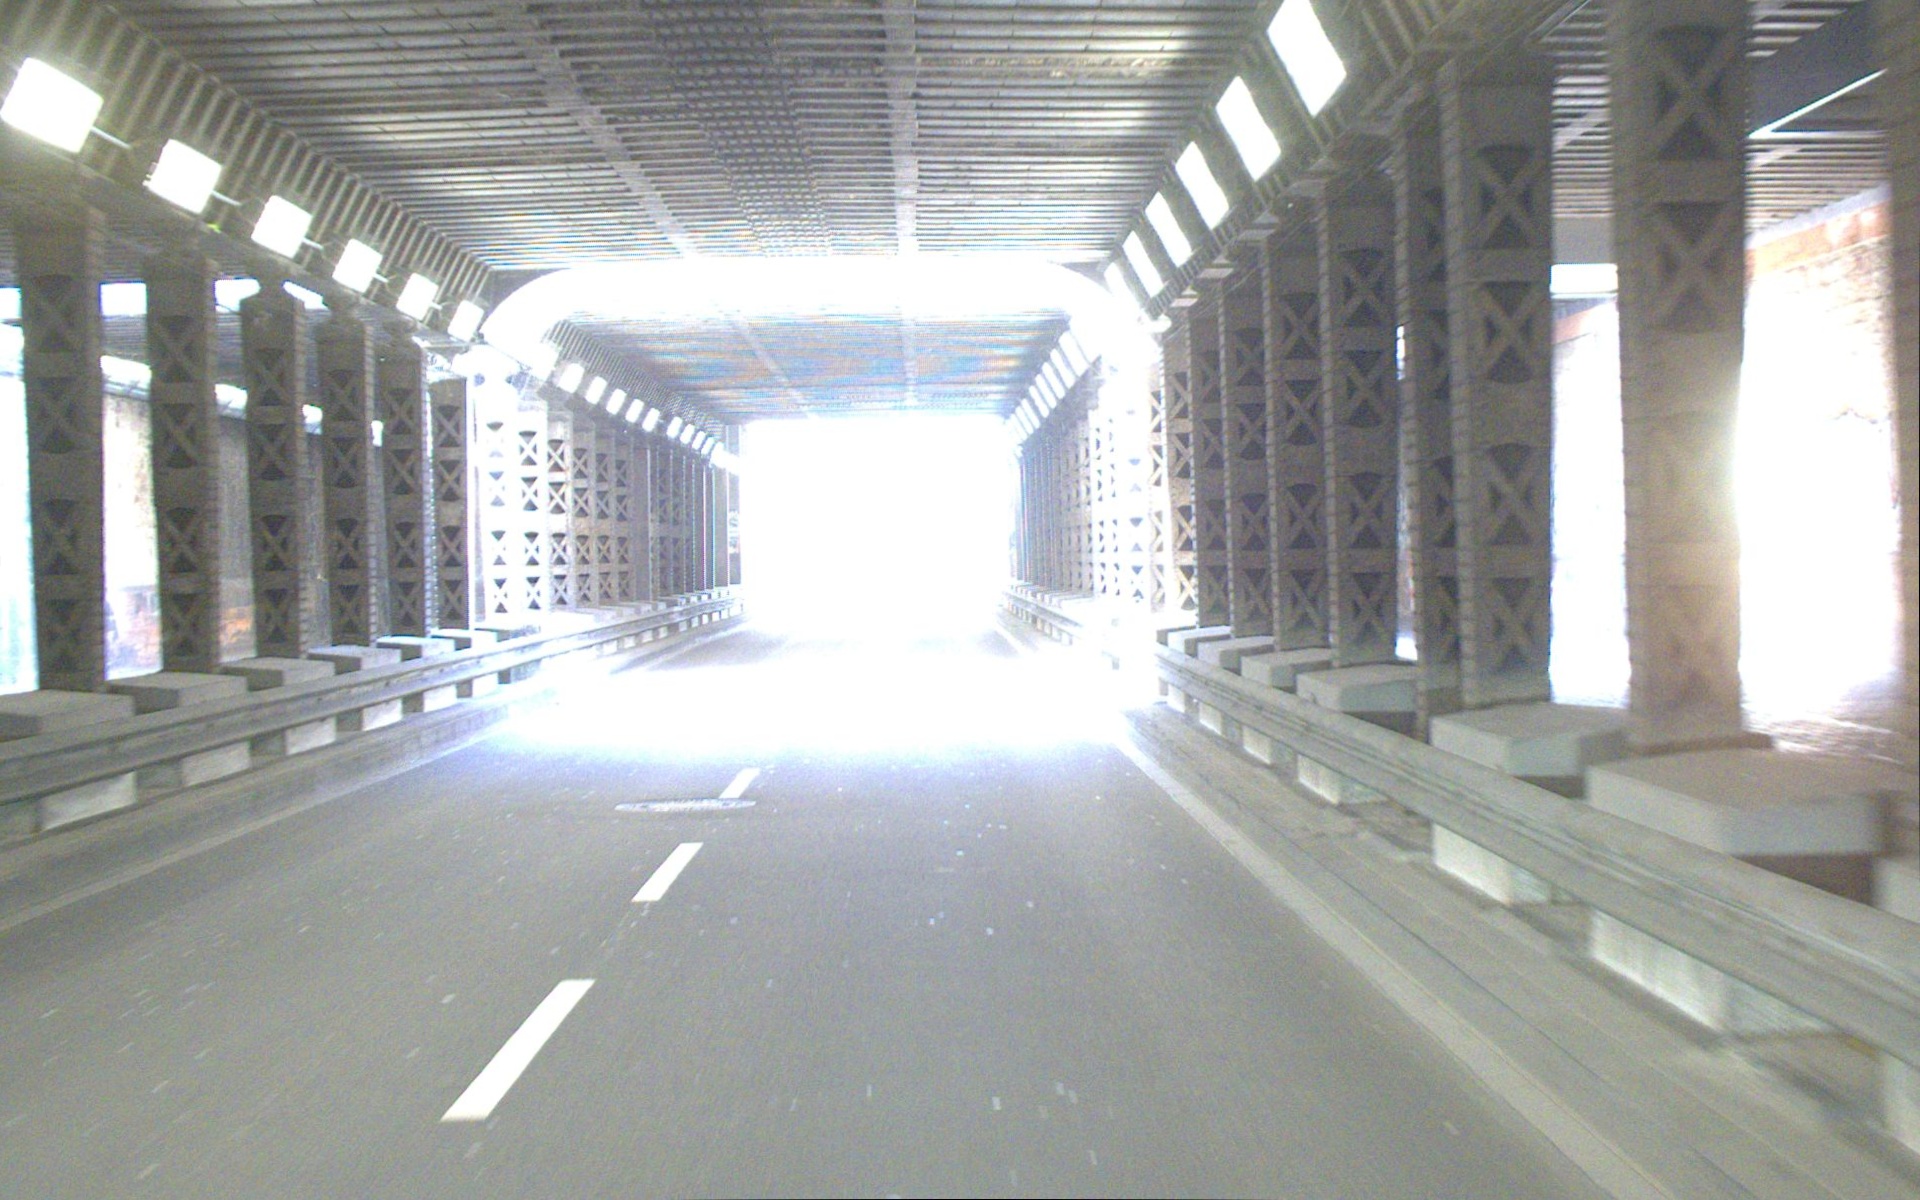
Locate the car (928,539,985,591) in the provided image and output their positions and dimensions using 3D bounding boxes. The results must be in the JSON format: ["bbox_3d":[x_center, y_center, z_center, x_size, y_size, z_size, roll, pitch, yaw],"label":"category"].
[{"bbox_3d":[-0.133,-1.269,123.720,1.993,1.778,4.000,-1,1,-1],"label":"car"}]

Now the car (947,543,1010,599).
[{"bbox_3d":[0.580,-0.980,113.750,1.993,1.778,4.000,-1,1,-1],"label":"car"}]

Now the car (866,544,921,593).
[{"bbox_3d":[-2.506,-1.195,129.986,1.993,1.778,4.000,-1,1,-1],"label":"car"}]
